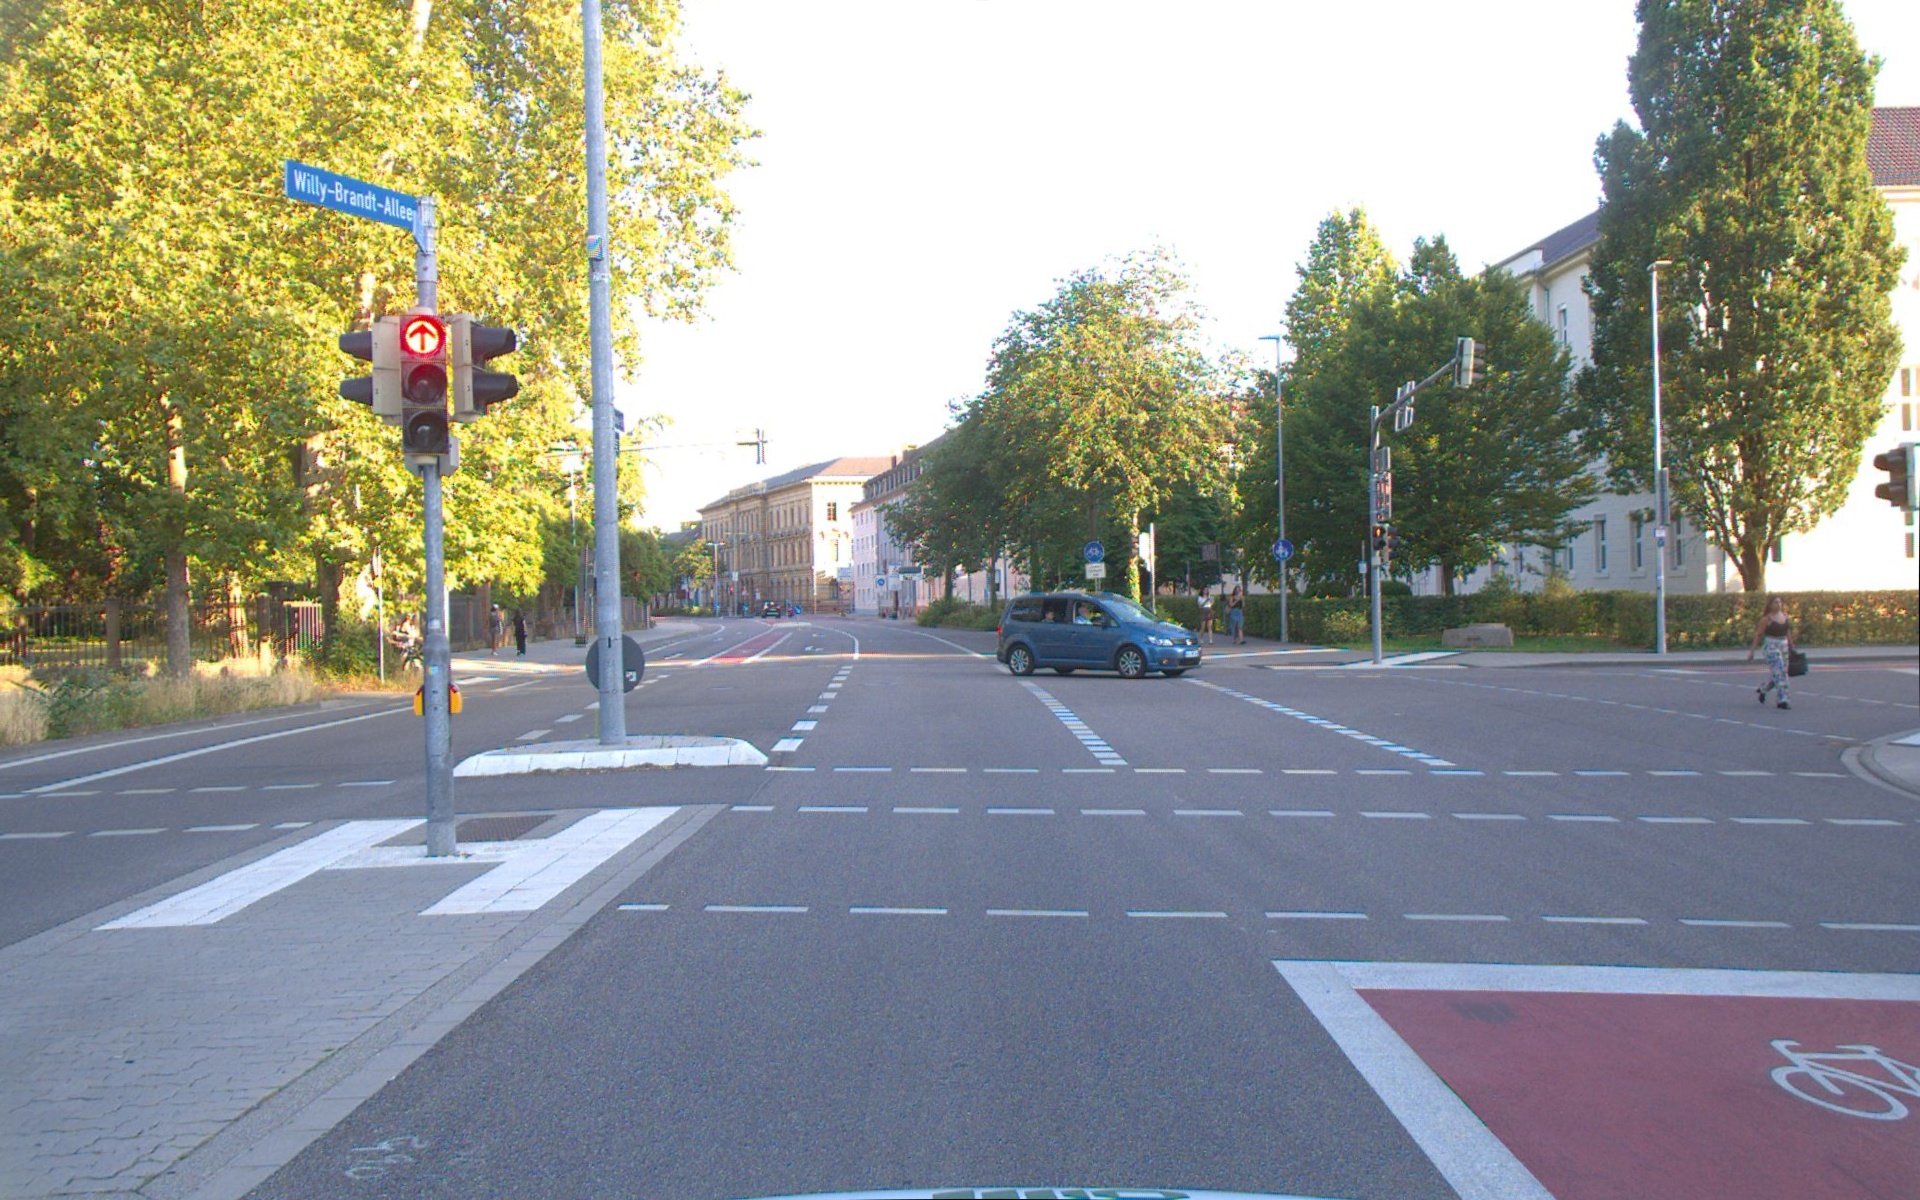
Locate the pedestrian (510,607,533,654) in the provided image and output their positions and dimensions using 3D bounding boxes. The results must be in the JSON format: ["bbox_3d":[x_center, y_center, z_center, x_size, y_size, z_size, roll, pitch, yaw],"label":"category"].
[{"bbox_3d":[-15.276,1.056,57.643,0.587,1.601,0.646,-1,0,-1],"label":"pedestrian"}]

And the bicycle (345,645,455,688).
[{"bbox_3d":[-13.549,1.600,40.055,2.380,0.940,0.775,-1,0,0],"label":"bicycle"}]

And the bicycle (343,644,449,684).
[{"bbox_3d":[-14.247,1.614,41.820,2.380,0.940,0.775,-1,0,0],"label":"bicycle"}]

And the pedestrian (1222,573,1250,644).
[{"bbox_3d":[8.043,0.239,48.218,0.622,2.049,0.720,0,0,-5],"label":"pedestrian"}]

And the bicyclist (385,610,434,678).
[{"bbox_3d":[-13.914,1.106,41.829,0.938,1.659,0.752,-1,0,0],"label":"bicyclist"}]

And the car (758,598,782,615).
[{"bbox_3d":[-19.485,0.642,169.413,1.789,1.616,3.984,-2,0,-15],"label":"car"}]

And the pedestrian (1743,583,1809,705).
[{"bbox_3d":[11.373,0.601,23.069,0.587,1.664,0.691,0,0,0],"label":"pedestrian"}]

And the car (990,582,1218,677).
[{"bbox_3d":[2.813,0.571,32.795,4.216,1.750,1.846,-1,0,41],"label":"car"}]

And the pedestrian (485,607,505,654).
[{"bbox_3d":[-16.226,1.060,57.726,0.524,1.624,0.590,-1,0,-1],"label":"pedestrian"}]

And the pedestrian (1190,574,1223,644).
[{"bbox_3d":[7.272,0.258,48.885,0.852,2.049,0.722,0,0,-1],"label":"pedestrian"}]

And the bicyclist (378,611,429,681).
[{"bbox_3d":[-13.479,1.101,40.065,0.938,1.659,0.752,-1,0,0],"label":"bicyclist"}]
